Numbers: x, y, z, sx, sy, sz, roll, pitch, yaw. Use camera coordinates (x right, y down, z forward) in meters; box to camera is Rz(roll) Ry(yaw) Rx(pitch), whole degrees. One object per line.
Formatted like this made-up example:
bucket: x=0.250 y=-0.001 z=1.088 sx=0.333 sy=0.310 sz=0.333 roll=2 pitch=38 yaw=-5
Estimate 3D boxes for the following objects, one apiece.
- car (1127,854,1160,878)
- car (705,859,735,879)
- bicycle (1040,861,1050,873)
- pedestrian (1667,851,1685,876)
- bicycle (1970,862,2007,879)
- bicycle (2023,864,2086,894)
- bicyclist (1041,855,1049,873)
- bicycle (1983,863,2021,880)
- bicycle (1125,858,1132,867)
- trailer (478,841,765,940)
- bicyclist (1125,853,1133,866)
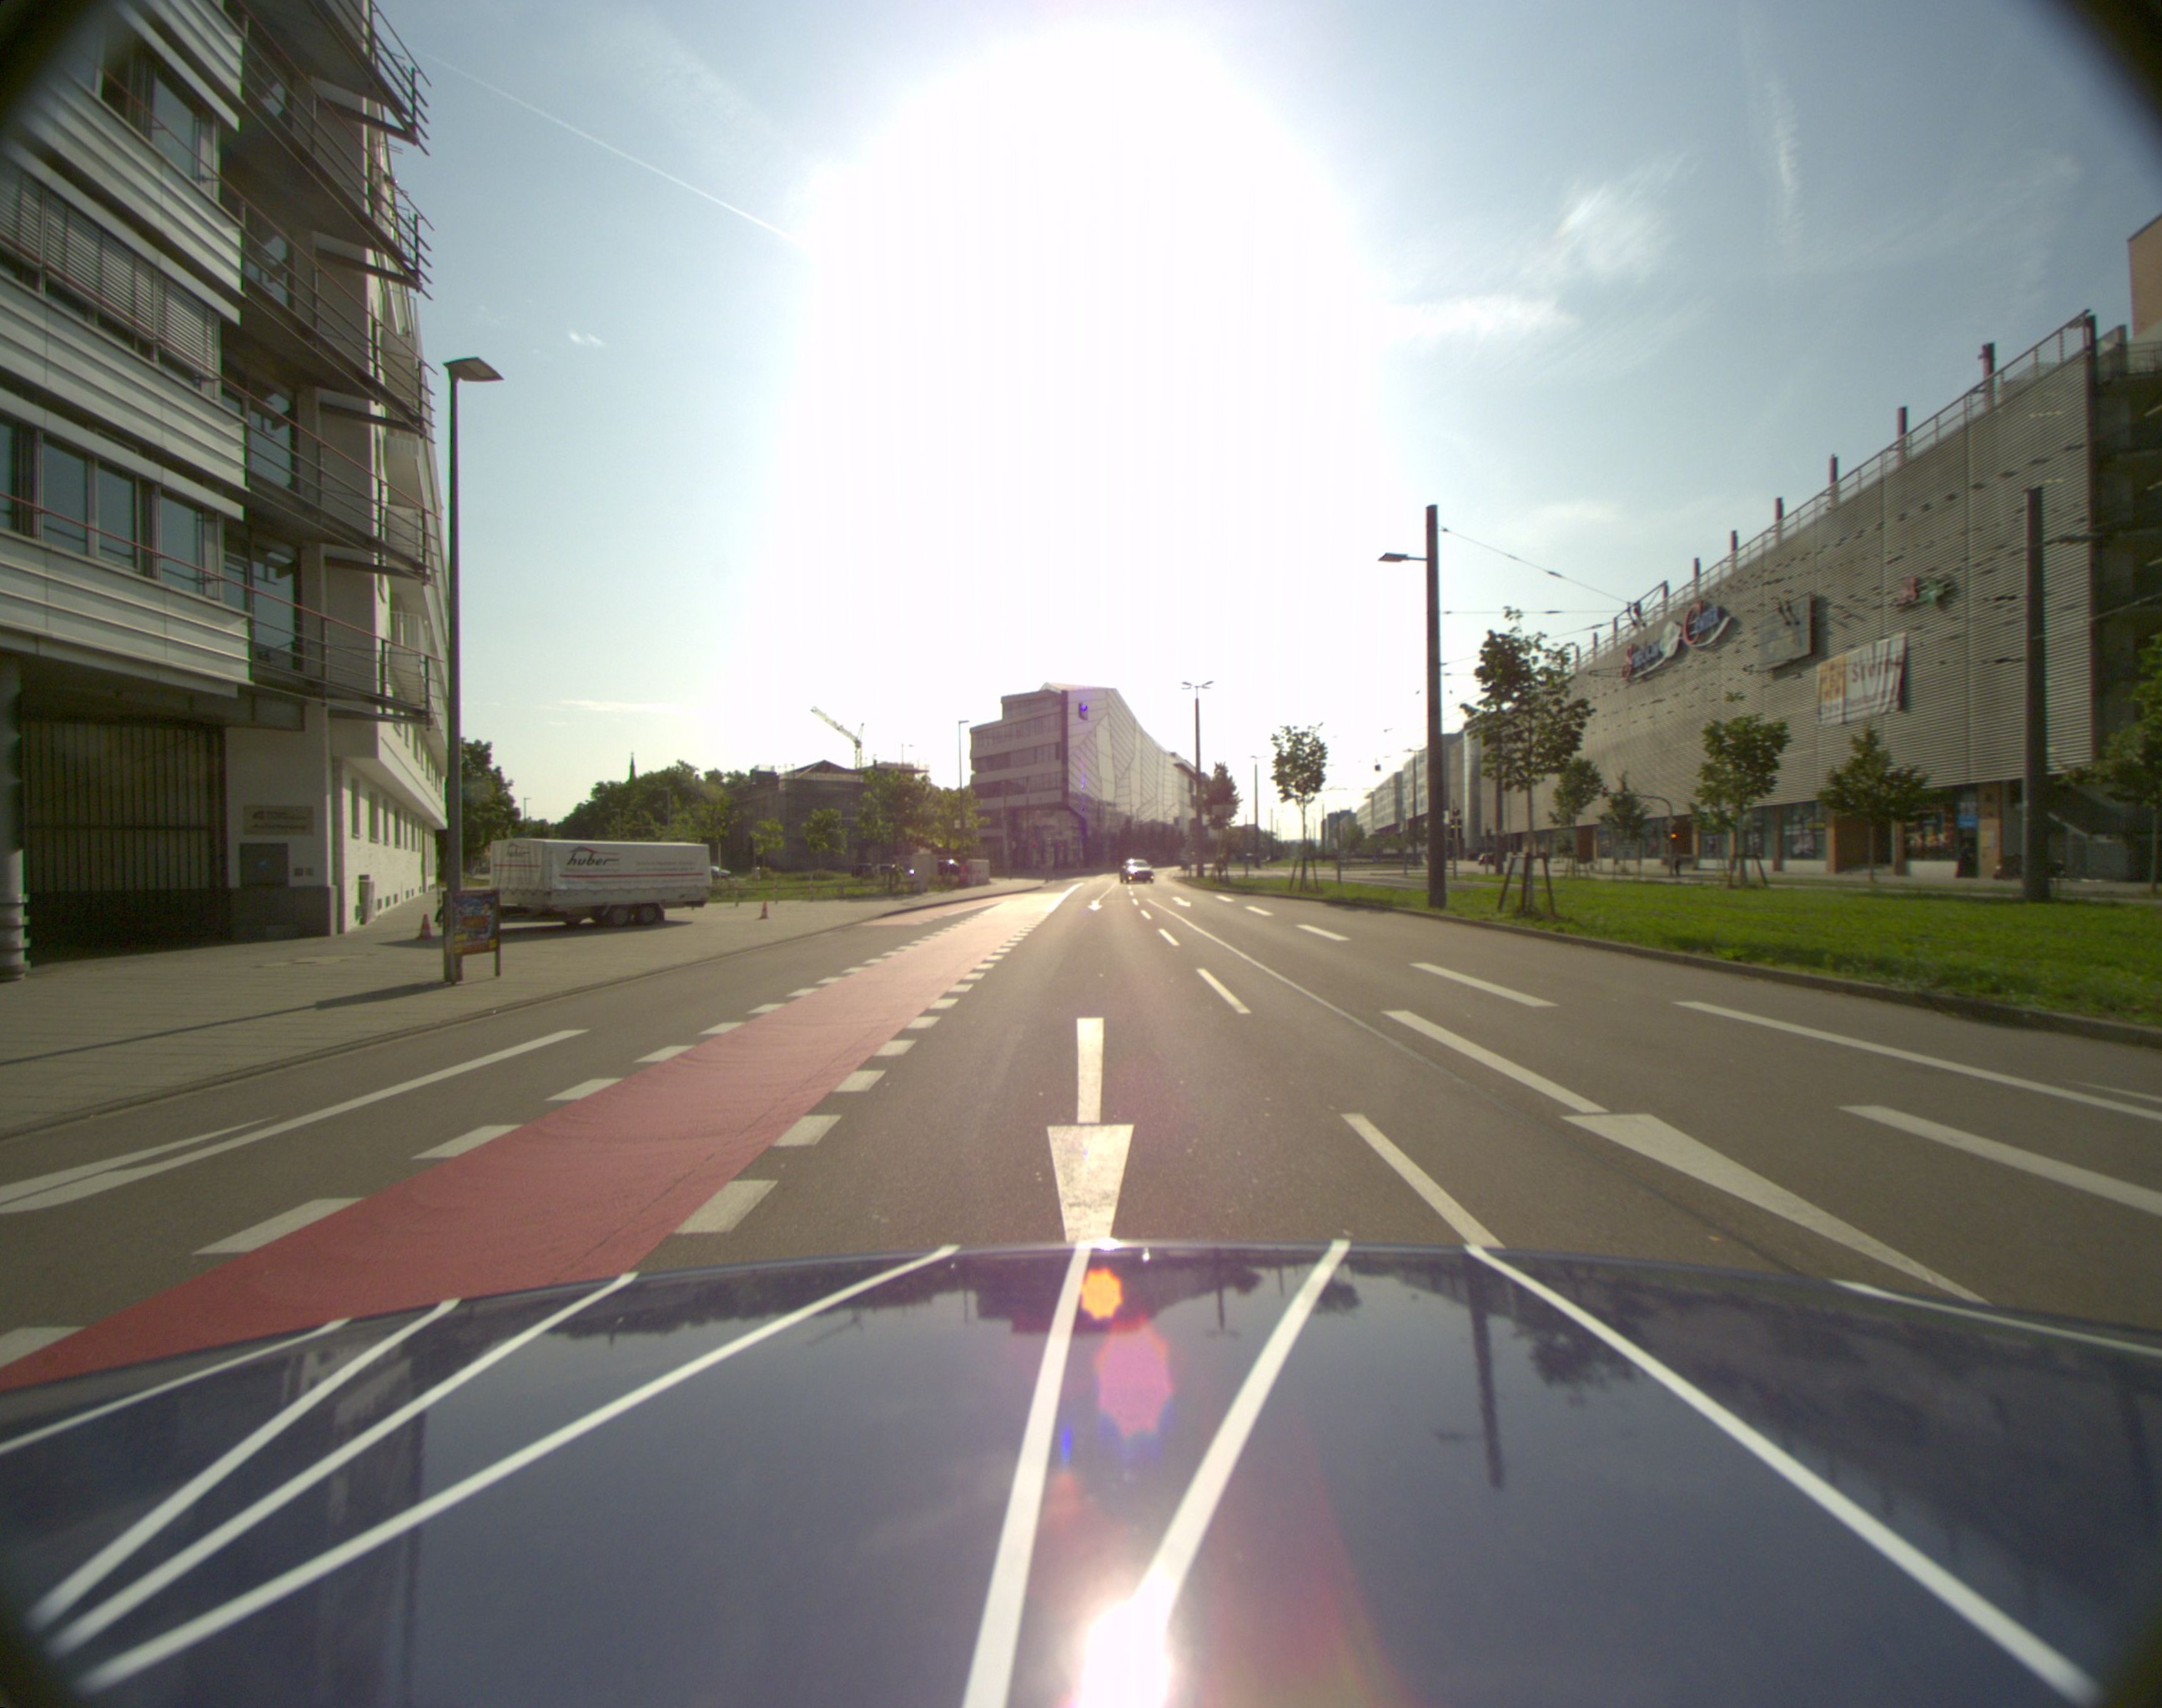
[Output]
car: x=3.815 y=0.711 z=46.884 sx=1.643 sy=1.411 sz=3.894 roll=-1 pitch=0 yaw=-1
car: x=-38.246 y=1.537 z=80.432 sx=2.004 sy=2.002 sz=3.989 roll=-1 pitch=0 yaw=-38
bicycle: x=-3.495 y=1.238 z=73.877 sx=0.669 sy=1.092 sz=1.805 roll=0 pitch=2 yaw=5
pedestrian: x=38.250 y=0.595 z=48.840 sx=0.762 sy=1.570 sz=0.590 roll=0 pitch=1 yaw=11
bicycle: x=41.785 y=0.766 z=34.999 sx=1.004 sy=0.747 sz=0.452 roll=-1 pitch=0 yaw=16
bicycle: x=35.896 y=0.900 z=28.052 sx=0.444 sy=0.982 sz=2.167 roll=0 pitch=2 yaw=24
bicyclist: x=-3.493 y=0.946 z=73.963 sx=0.669 sy=1.693 sz=0.637 roll=0 pitch=2 yaw=4
bicycle: x=41.574 y=0.787 z=34.309 sx=1.004 sy=0.747 sz=0.452 roll=-1 pitch=0 yaw=16
bicycle: x=5.982 y=1.031 z=95.601 sx=0.418 sy=1.050 sz=1.962 roll=0 pitch=2 yaw=21
trailer: x=-11.425 y=0.797 z=19.589 sx=2.391 sy=2.138 sz=5.960 roll=-1 pitch=0 yaw=26
bicyclist: x=5.998 y=0.720 z=95.569 sx=0.781 sy=1.577 sz=0.933 roll=0 pitch=2 yaw=21
